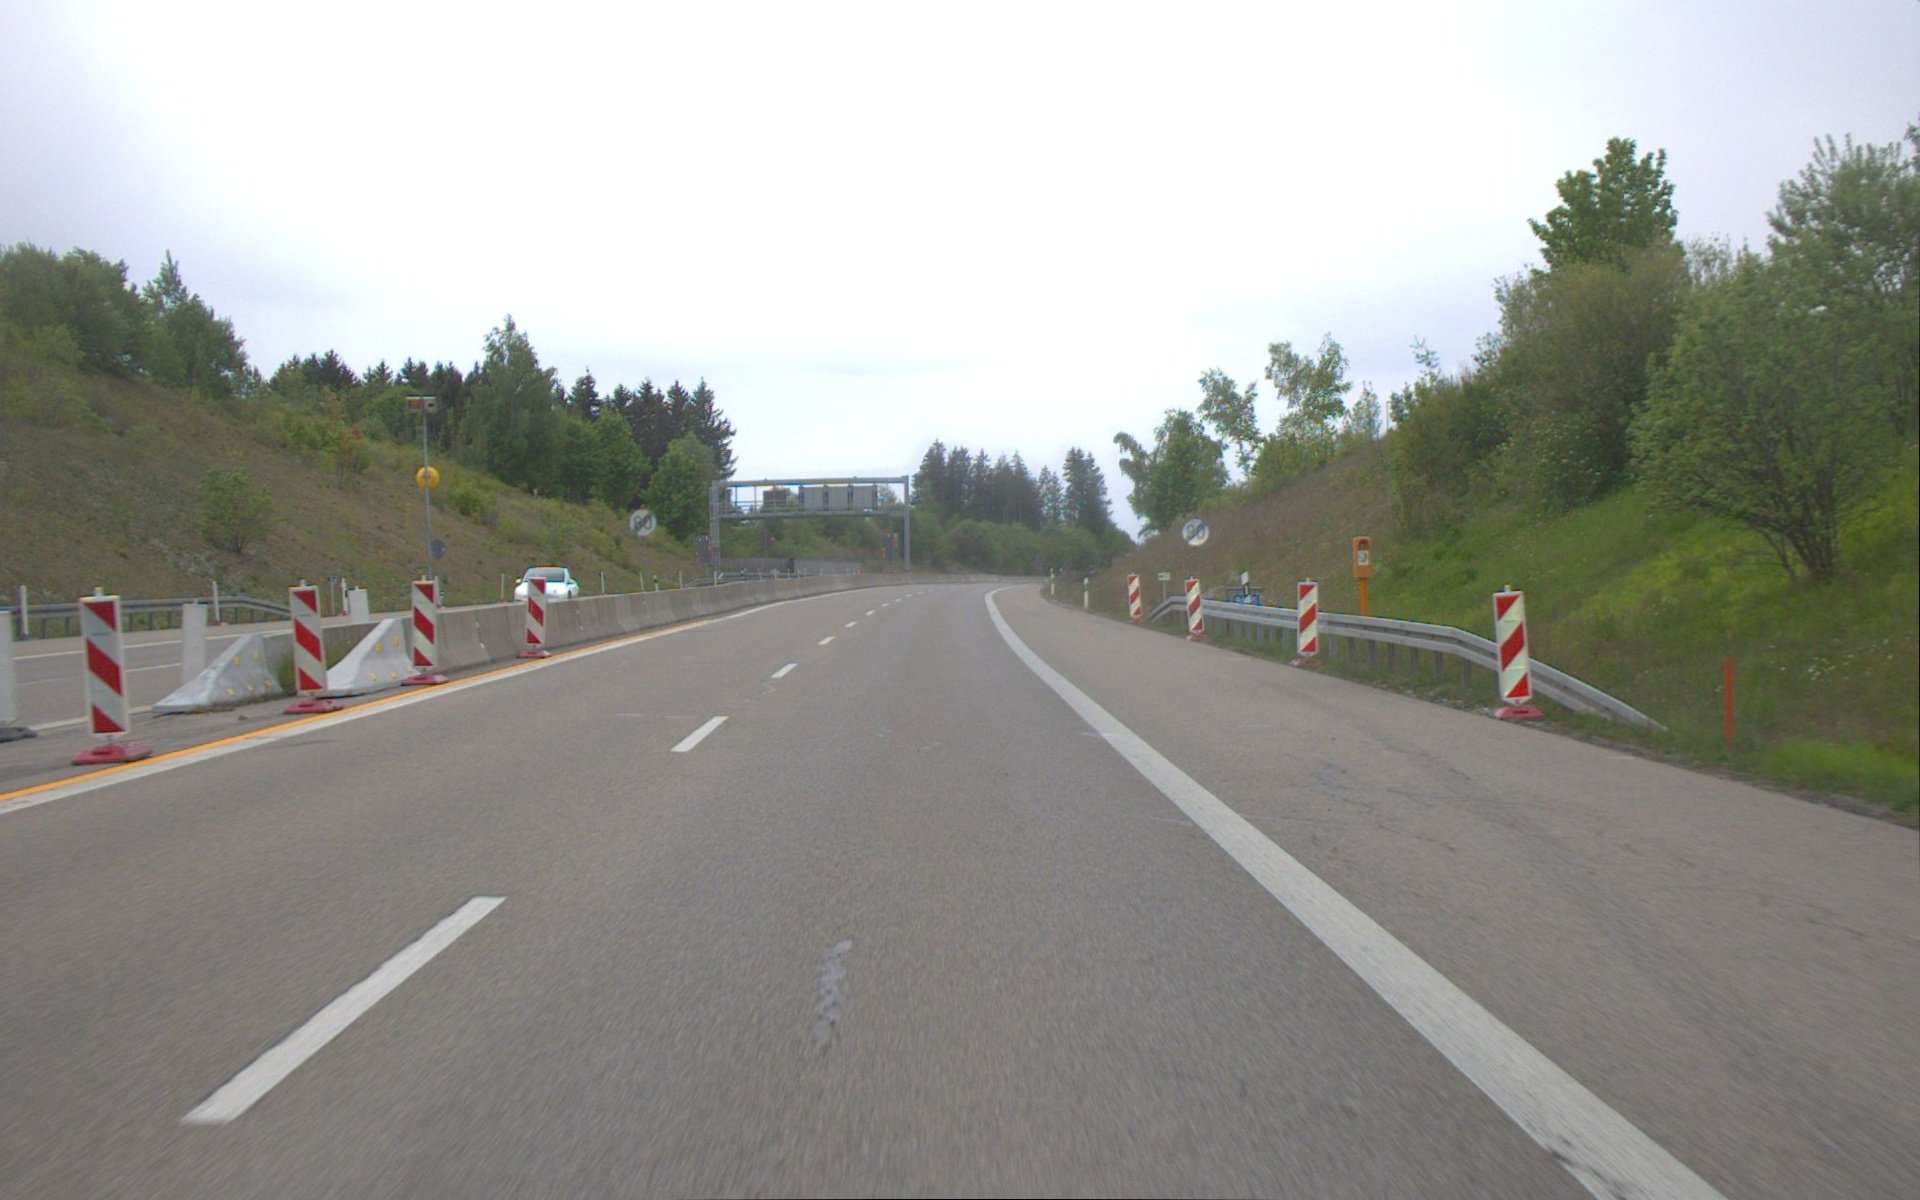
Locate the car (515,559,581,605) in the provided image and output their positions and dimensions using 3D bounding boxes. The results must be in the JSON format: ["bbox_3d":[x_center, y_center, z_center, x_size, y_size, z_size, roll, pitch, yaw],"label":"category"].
[{"bbox_3d":[-14.794,-0.623,123.585,1.914,1.595,4.167,-1,0,-1],"label":"car"}]
